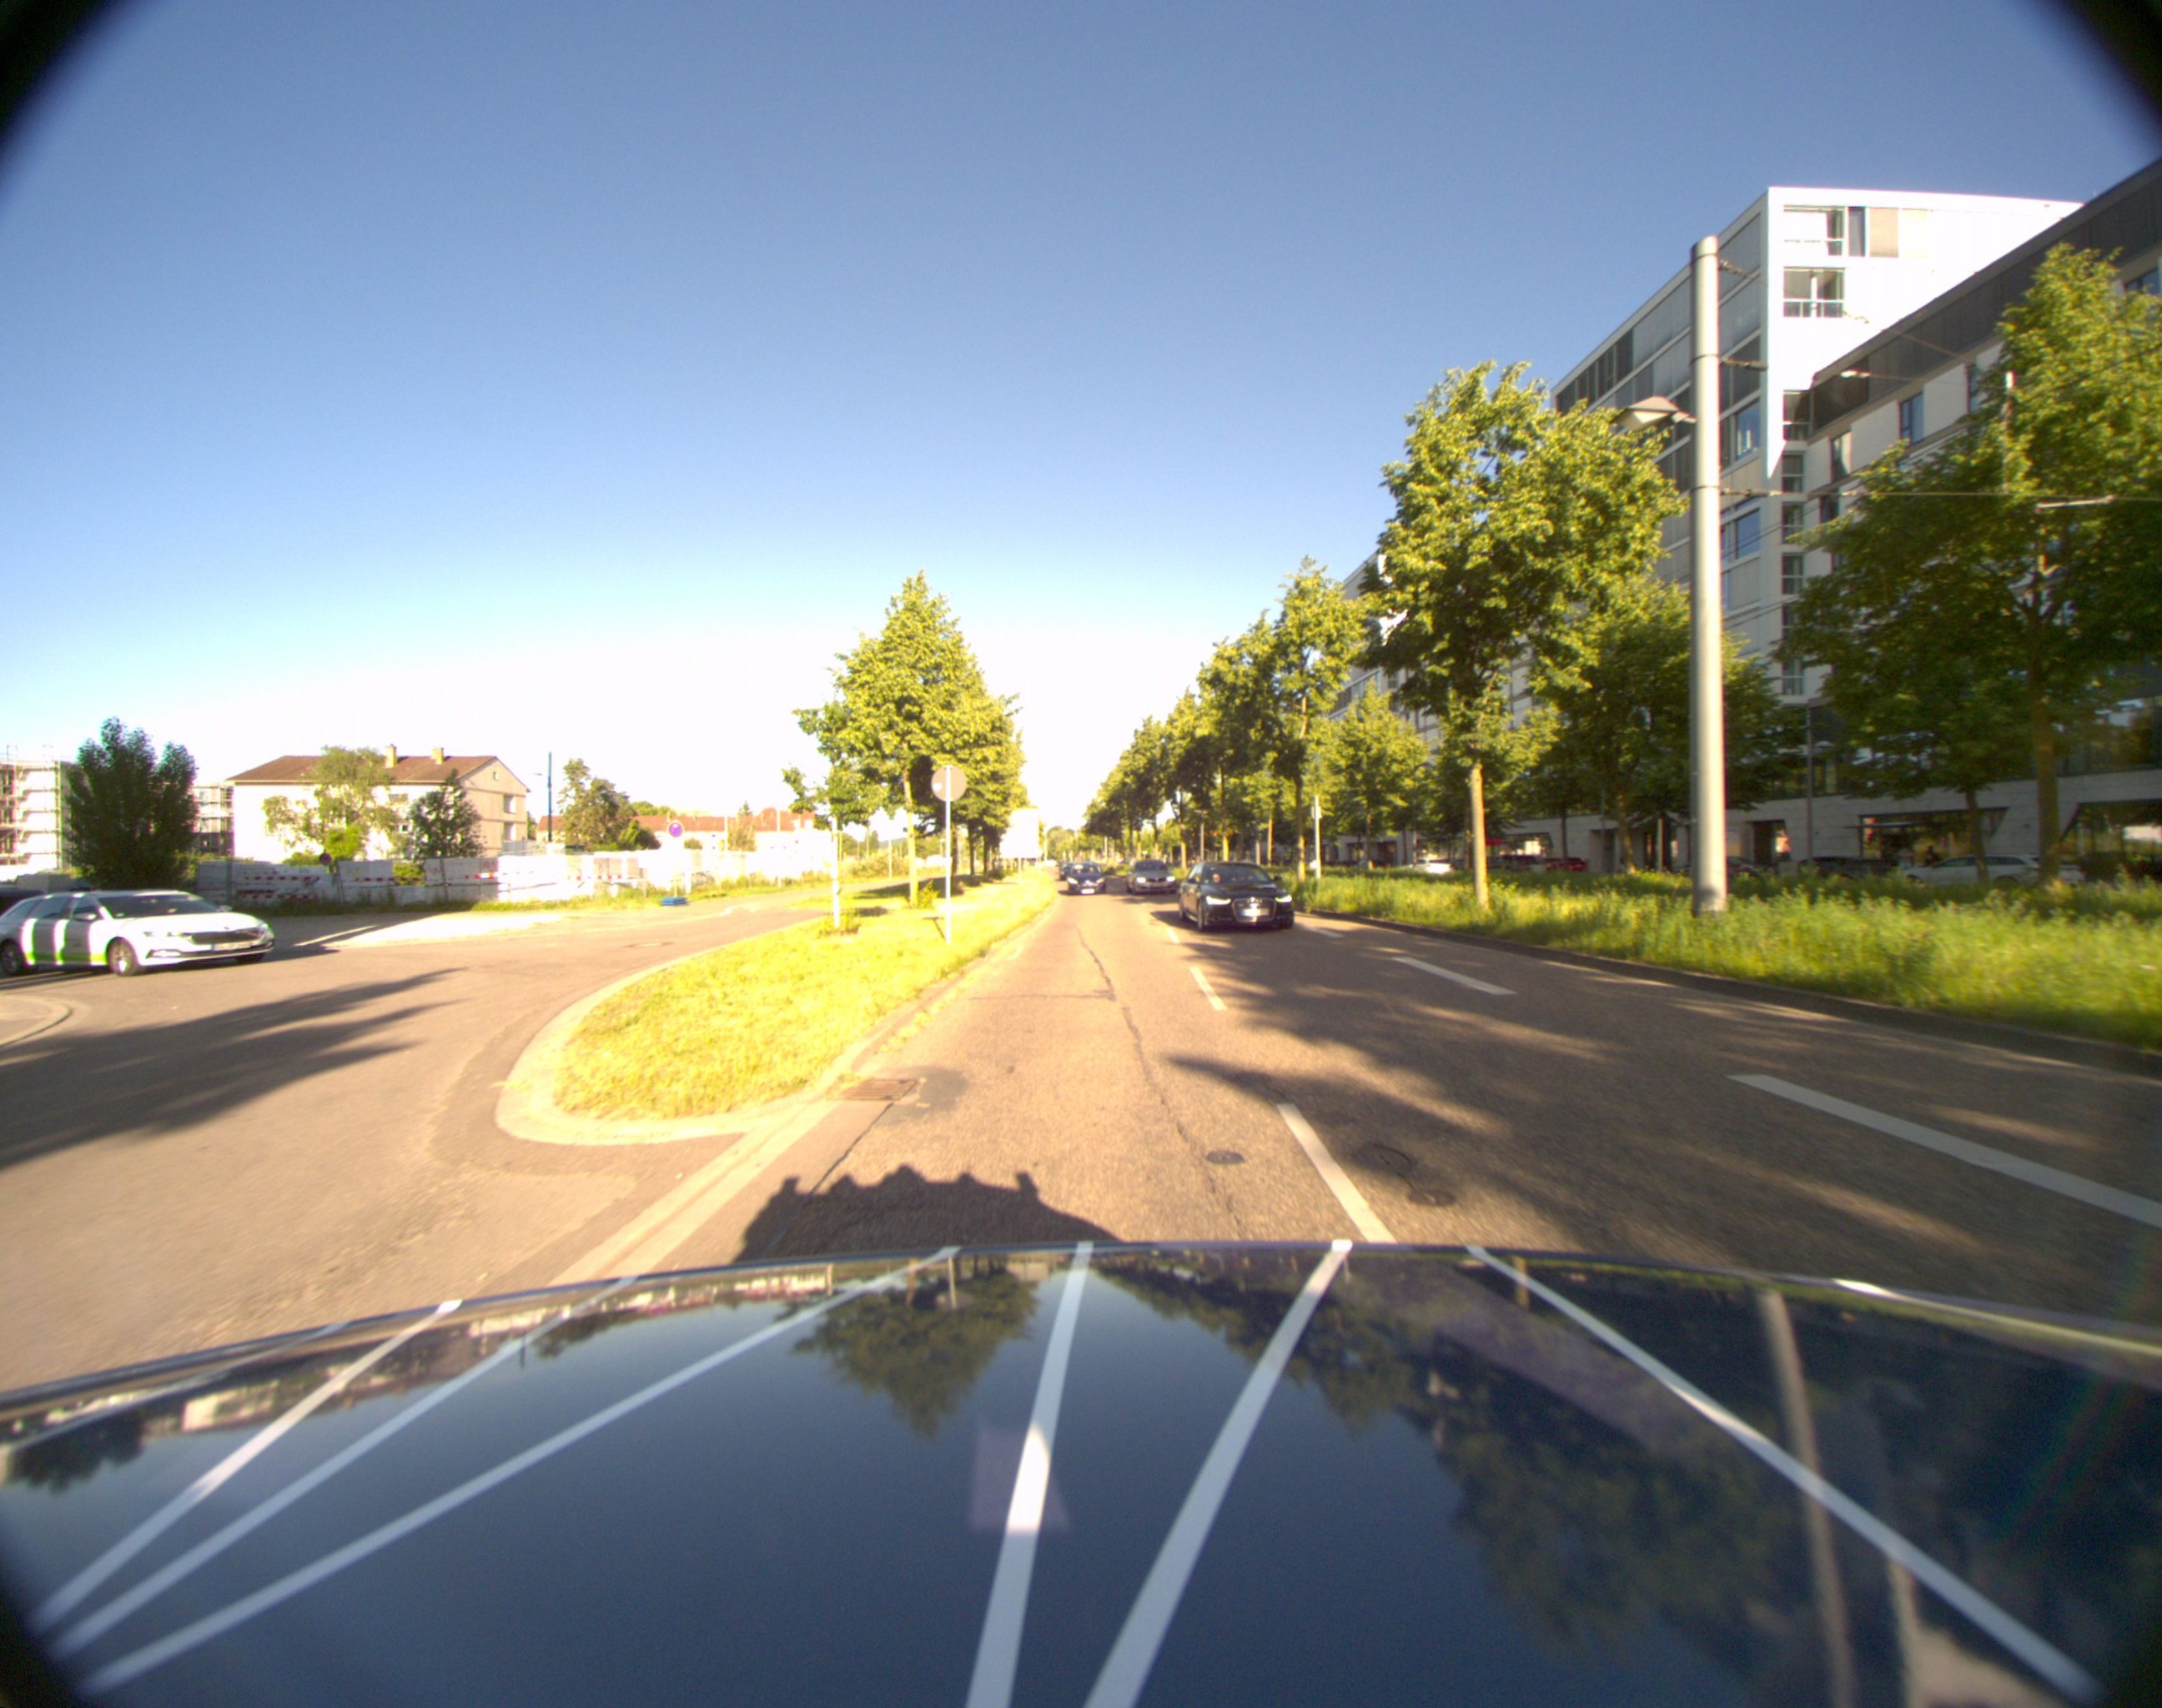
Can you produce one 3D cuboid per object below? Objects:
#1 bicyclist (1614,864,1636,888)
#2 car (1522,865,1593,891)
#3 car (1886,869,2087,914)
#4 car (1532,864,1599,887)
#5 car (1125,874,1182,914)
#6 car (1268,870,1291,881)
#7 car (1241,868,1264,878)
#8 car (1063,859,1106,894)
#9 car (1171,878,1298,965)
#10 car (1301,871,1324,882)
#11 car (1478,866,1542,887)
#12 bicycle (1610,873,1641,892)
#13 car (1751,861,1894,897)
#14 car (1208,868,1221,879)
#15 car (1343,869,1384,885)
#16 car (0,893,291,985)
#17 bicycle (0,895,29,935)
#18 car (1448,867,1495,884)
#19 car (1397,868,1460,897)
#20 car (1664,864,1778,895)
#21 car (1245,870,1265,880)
[{"bbox_3d":[33.459,1.370,46.724,0.722,1.455,0.832,-1,0,-1],"label":"bicyclist"},{"bbox_3d":[35.598,1.758,56.946,1.802,1.766,5.129,-2,-1,-3],"label":"car"},{"bbox_3d":[32.284,1.290,27.339,1.720,1.411,4.544,-1,-1,-2],"label":"car"},{"bbox_3d":[31.224,1.377,49.076,1.738,1.346,3.753,-3,0,-3],"label":"car"},{"bbox_3d":[3.150,1.717,33.801,1.849,1.559,4.527,-1,-1,-3],"label":"car"},{"bbox_3d":[28.490,3.066,109.214,2.004,1.411,4.544,-1,0,-3],"label":"car"},{"bbox_3d":[22.794,2.583,101.201,1.803,1.284,4.310,0,-2,-3],"label":"car"},{"bbox_3d":[0.118,1.023,35.531,1.763,1.506,3.947,-1,0,-3],"label":"car"},{"bbox_3d":[3.238,1.371,16.918,1.789,1.518,4.601,-2,-1,-1],"label":"car"},{"bbox_3d":[28.899,2.789,95.063,1.654,1.228,3.464,-1,1,-3],"label":"car"},{"bbox_3d":[31.001,1.589,55.053,1.672,1.411,4.804,-1,-1,-3],"label":"car"},{"bbox_3d":[33.466,1.716,46.720,0.734,1.113,1.571,-1,-1,0],"label":"bicycle"},{"bbox_3d":[32.055,1.055,33.050,1.720,1.411,4.545,-1,-1,-1],"label":"car"},{"bbox_3d":[26.330,3.798,150.231,1.804,1.915,3.999,-1,1,-2],"label":"car"},{"bbox_3d":[23.623,1.908,63.664,1.802,1.255,3.999,-1,-1,-3],"label":"car"},{"bbox_3d":[-17.215,1.487,13.809,4.520,1.385,1.775,-1,1,12],"label":"car"},{"bbox_3d":[-33.411,1.887,23.024,0.584,1.184,1.747,-1,-1,2],"label":"bicycle"},{"bbox_3d":[30.803,1.683,60.052,1.673,1.200,3.582,-1,-1,-4],"label":"car"},{"bbox_3d":[22.106,1.810,48.488,1.803,1.678,4.320,-2,-1,-3],"label":"car"},{"bbox_3d":[31.911,1.240,38.091,1.720,1.411,4.544,-1,-1,-2],"label":"car"},{"bbox_3d":[27.453,3.272,120.218,1.964,1.411,4.544,-1,-1,-2],"label":"car"}]
